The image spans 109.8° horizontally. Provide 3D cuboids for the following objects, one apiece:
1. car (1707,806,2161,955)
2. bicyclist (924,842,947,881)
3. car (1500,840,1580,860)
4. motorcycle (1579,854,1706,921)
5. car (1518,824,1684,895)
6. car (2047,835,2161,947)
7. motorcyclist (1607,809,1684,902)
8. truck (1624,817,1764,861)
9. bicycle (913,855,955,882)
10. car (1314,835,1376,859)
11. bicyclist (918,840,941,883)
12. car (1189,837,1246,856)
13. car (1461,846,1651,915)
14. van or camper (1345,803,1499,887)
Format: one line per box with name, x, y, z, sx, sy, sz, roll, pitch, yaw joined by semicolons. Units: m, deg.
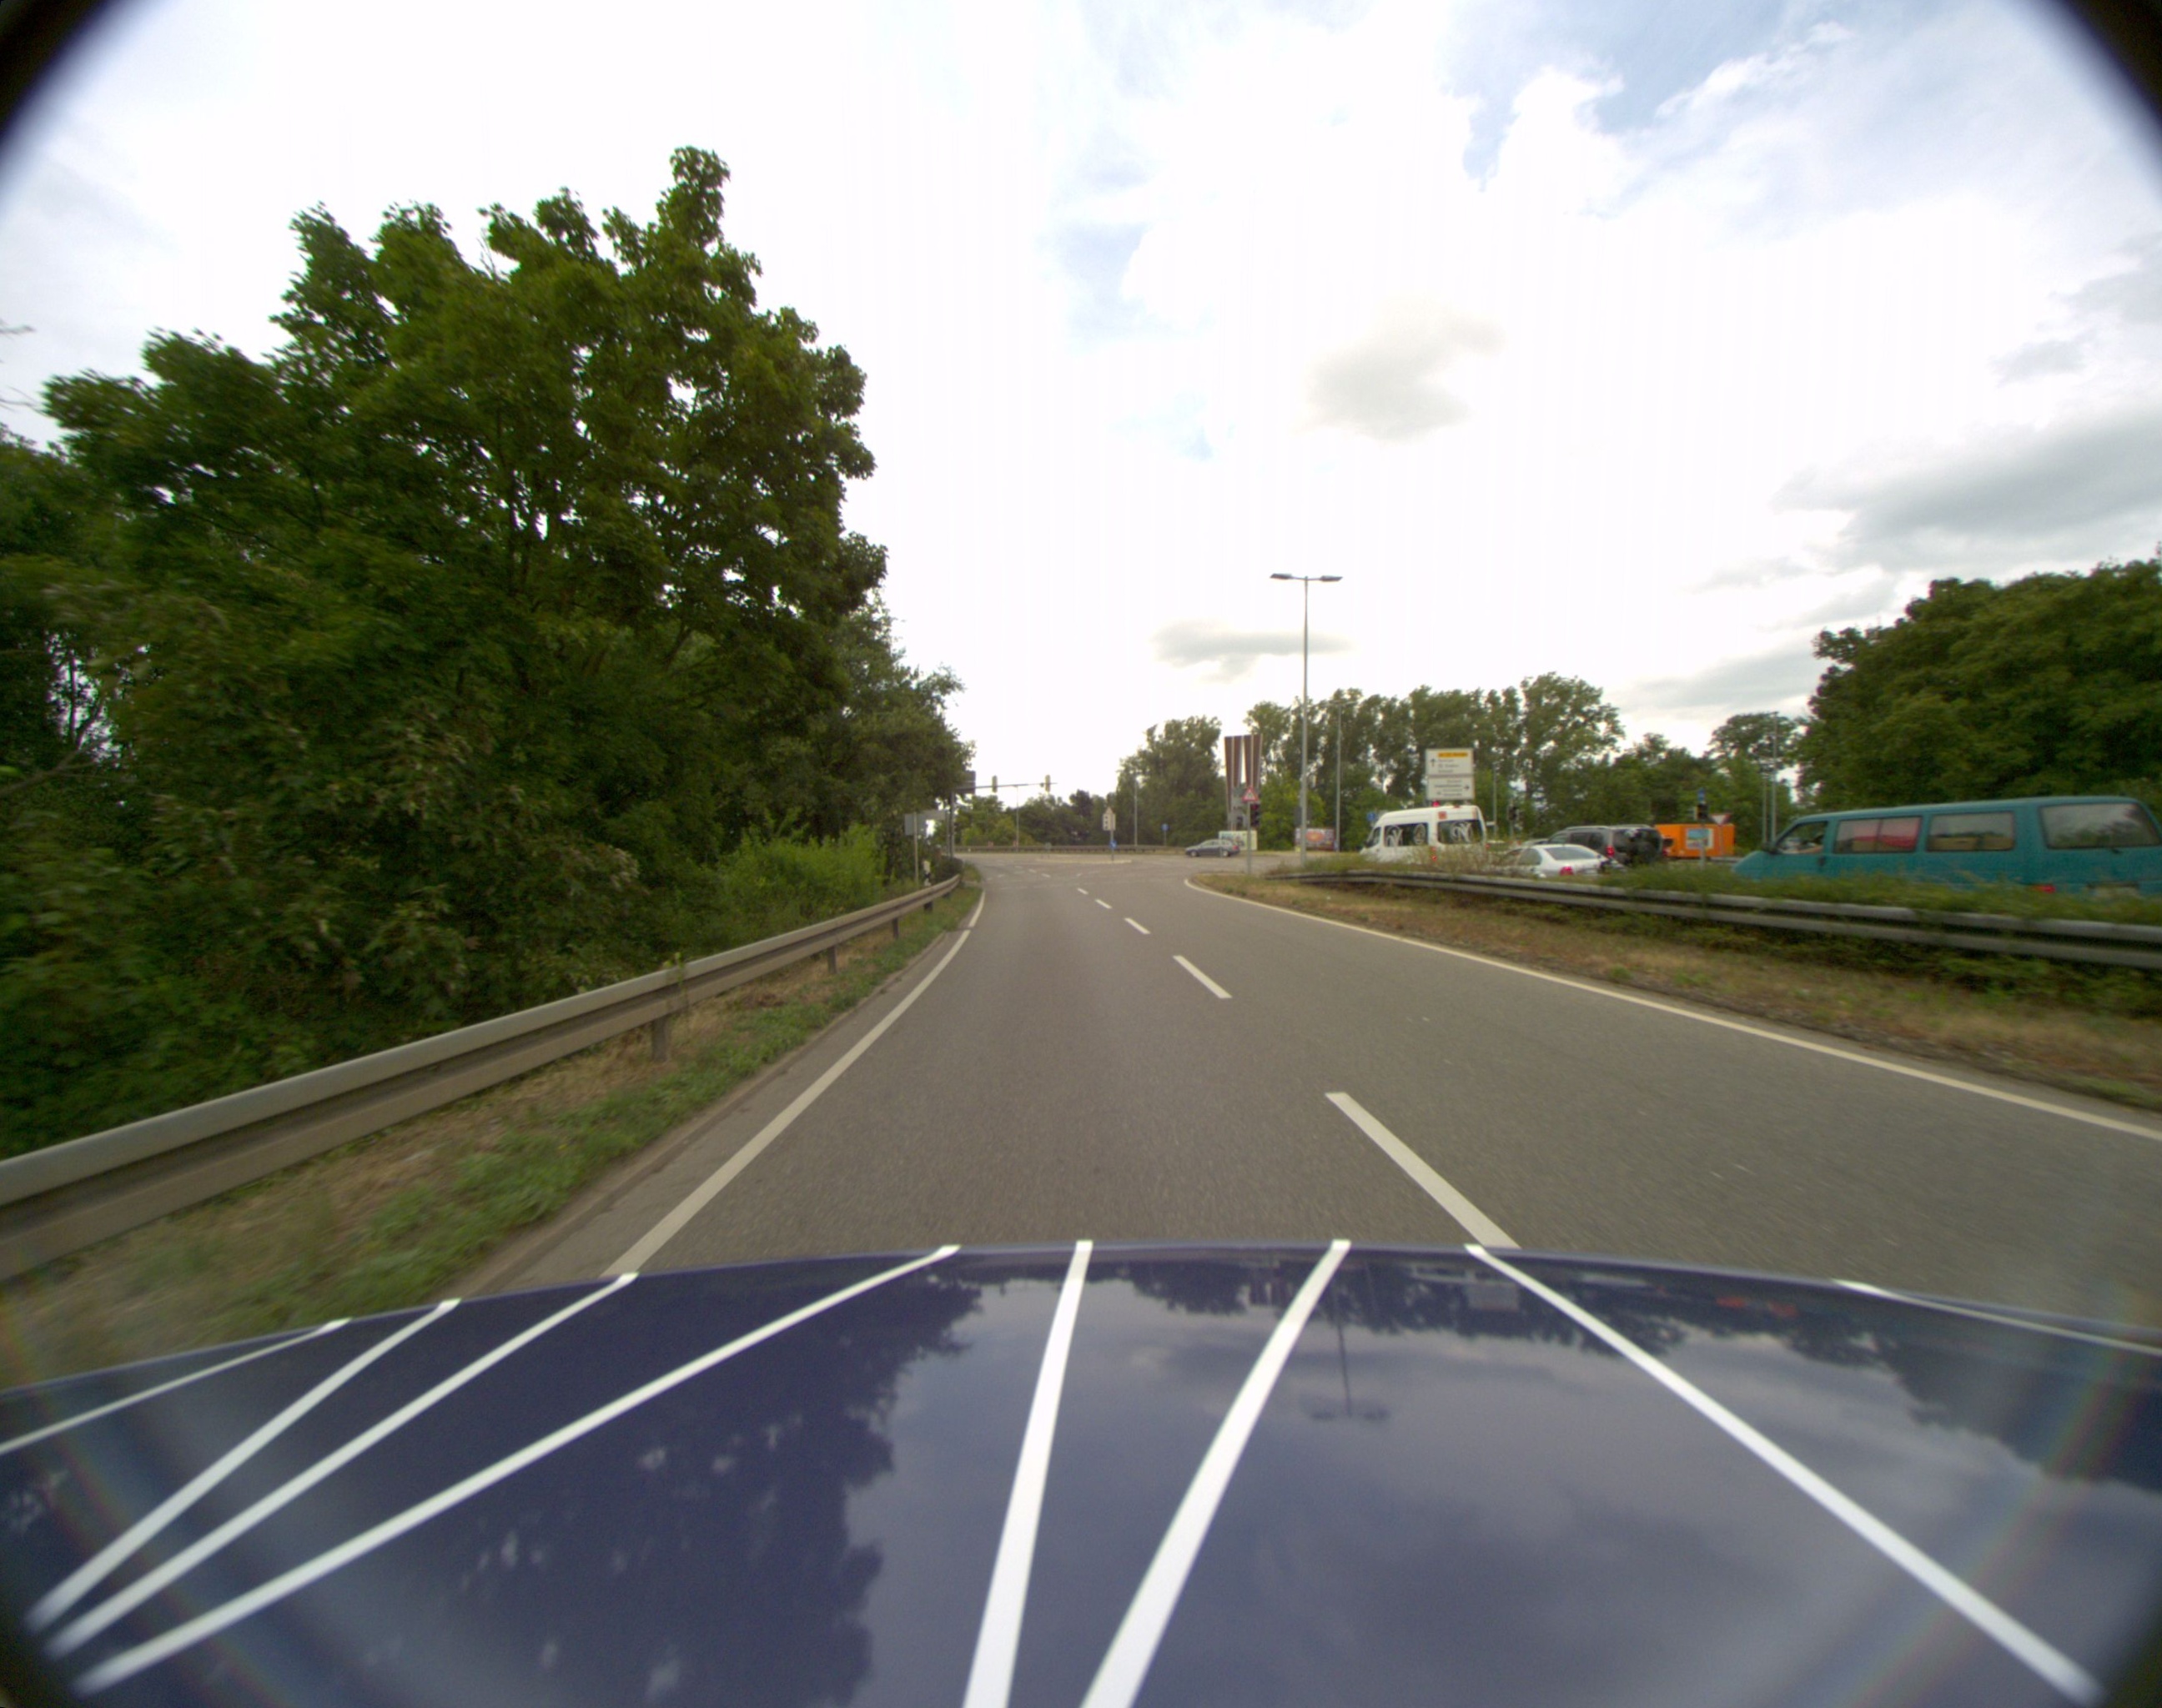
car;12.257;0.242;11.306;1.808;1.719;4.959;-1;1;0
bicyclist;-6.577;0.346;34.335;0.852;1.722;0.637;0;2;5
car;32.511;-0.291;53.865;4.574;1.303;1.998;-1;2;-7
motorcycle;11.559;0.646;15.764;0.801;1.218;2.325;-1;2;-4
car;15.259;0.102;22.624;1.999;1.891;4.165;-1;2;-1
car;15.406;0.521;9.242;1.809;1.458;4.276;-1;1;-2
motorcyclist;11.522;0.018;15.553;0.868;1.813;0.925;-1;2;-4
truck;47.618;-1.201;59.077;9.276;3.118;2.969;-1;2;-8
bicycle;-6.634;0.654;34.357;1.745;1.132;0.631;2;2;5
car;20.859;-0.536;60.128;4.256;1.773;1.926;-1;2;-4
bicyclist;-6.557;0.325;32.841;0.952;1.833;0.663;1;1;-12
car;11.332;-0.642;63.080;4.368;1.480;2.002;-1;2;20
car;11.975;0.579;19.585;1.999;1.490;4.397;-1;1;-3
van or camper;11.843;-0.356;27.059;2.166;2.574;6.491;-1;2;-4
